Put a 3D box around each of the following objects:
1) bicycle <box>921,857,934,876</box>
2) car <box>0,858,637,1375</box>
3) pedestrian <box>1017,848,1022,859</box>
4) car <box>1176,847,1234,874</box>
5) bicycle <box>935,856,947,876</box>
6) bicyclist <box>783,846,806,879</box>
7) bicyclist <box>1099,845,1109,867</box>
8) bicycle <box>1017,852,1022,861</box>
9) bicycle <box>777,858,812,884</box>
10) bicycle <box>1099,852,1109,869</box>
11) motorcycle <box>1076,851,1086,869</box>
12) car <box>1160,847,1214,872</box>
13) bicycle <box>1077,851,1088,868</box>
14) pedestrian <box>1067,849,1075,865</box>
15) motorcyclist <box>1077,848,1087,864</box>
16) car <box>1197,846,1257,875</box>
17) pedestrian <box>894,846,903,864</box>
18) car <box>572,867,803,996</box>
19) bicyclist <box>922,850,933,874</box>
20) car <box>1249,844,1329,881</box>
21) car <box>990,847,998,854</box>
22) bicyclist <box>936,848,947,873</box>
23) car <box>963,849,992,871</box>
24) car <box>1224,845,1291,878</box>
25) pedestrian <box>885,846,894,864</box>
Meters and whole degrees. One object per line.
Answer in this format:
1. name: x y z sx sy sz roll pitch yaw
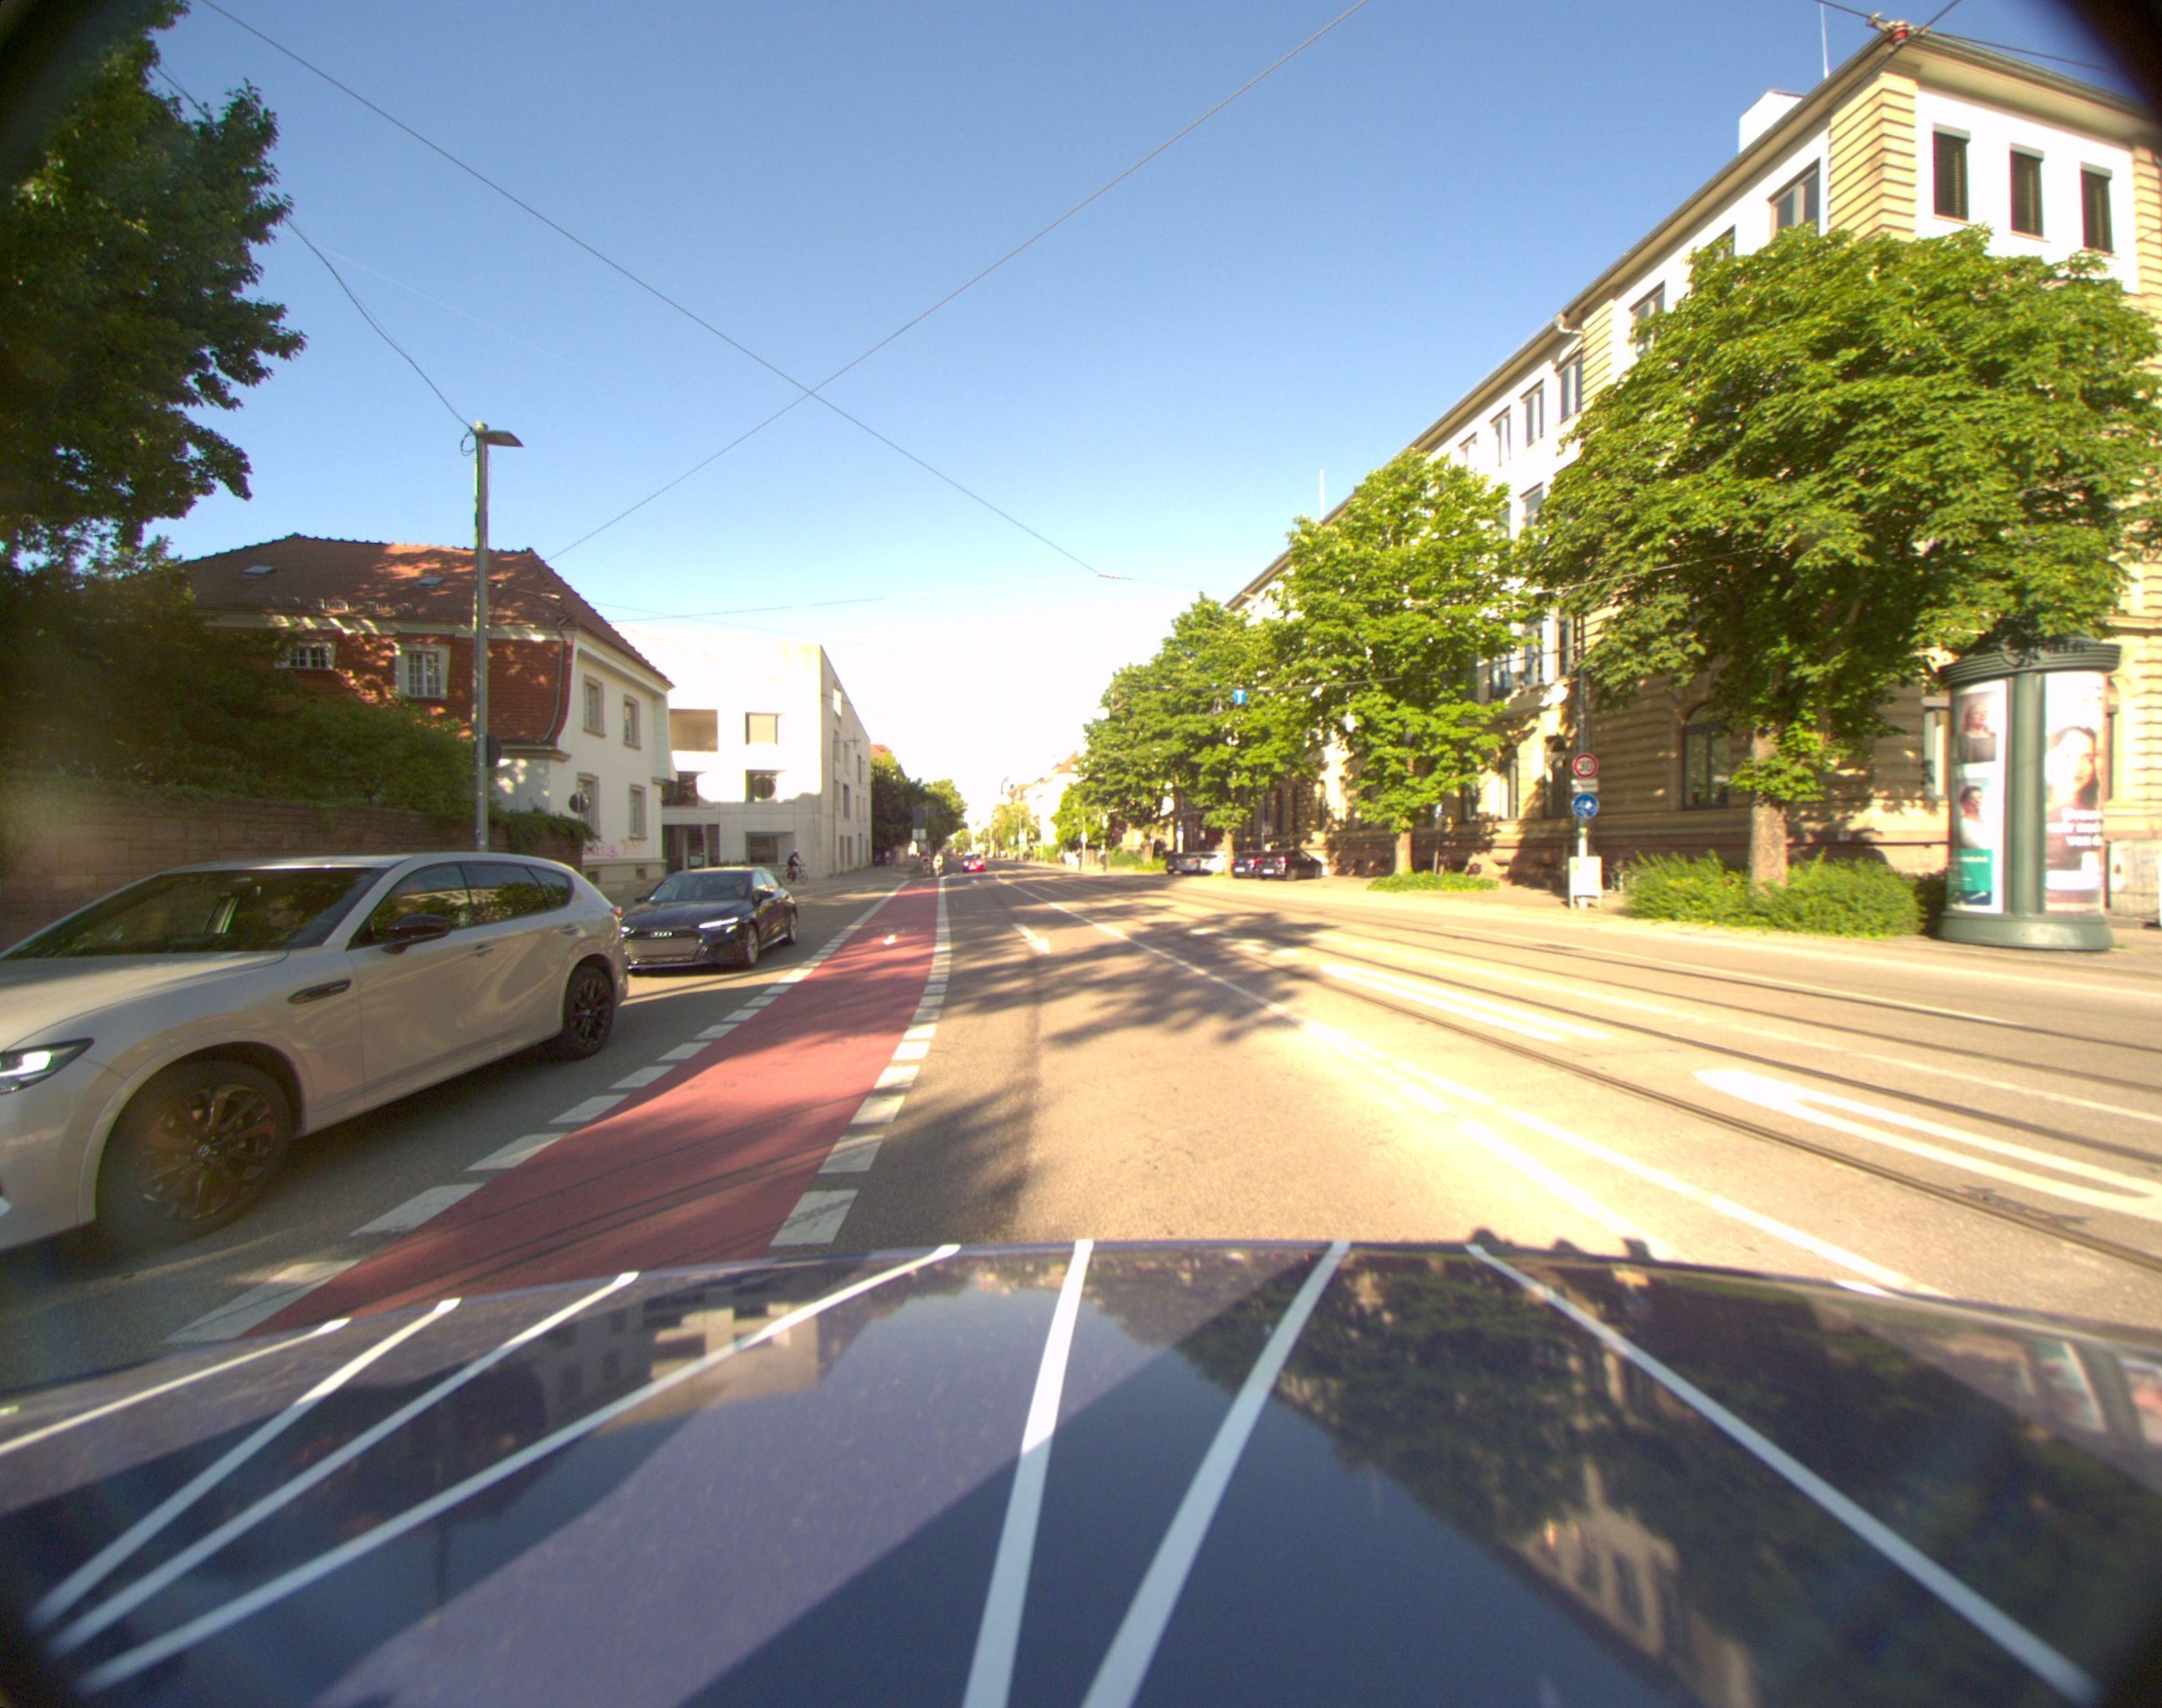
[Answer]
1. bicycle: -10.295 0.807 50.987 0.676 1.243 2.454 0 1 -8
2. car: -4.806 0.934 4.470 1.946 1.682 4.529 -2 1 -5
3. pedestrian: -9.644 -0.055 119.133 0.675 1.638 0.817 -1 1 0
4. car: 7.912 0.382 48.357 3.657 1.552 1.645 -3 1 -43
5. bicycle: -9.131 0.738 49.671 0.676 1.243 2.454 0 1 -8
6. bicyclist: -14.434 0.431 38.294 0.675 1.638 1.029 0 1 4
7. bicyclist: 1.733 0.151 57.012 0.675 1.638 1.029 0 1 1
8. bicycle: -9.632 0.389 119.140 0.676 1.243 2.456 -1 1 1
9. bicycle: -14.427 0.846 38.315 0.675 1.243 2.457 0 1 5
10. bicycle: 1.727 0.487 56.923 0.676 1.243 2.456 0 1 1
11. motorcycle: 0.017 0.458 59.463 0.680 1.285 2.265 -2 1 1
12. car: 7.236 0.353 51.768 3.657 1.552 1.645 -3 1 -43
13. bicycle: 0.079 0.431 59.339 0.676 1.243 2.455 0 1 -5
14. pedestrian: -1.017 0.289 79.514 0.676 1.638 0.817 -1 1 -9
15. motorcyclist: 0.079 0.173 59.347 0.676 1.243 0.853 0 1 -5
16. car: 8.890 0.382 46.126 3.657 1.552 1.645 -3 1 -43
17. pedestrian: -17.241 0.068 71.835 0.676 1.638 0.817 -1 1 -9
18. car: -5.621 0.994 11.478 1.789 1.425 3.997 -2 1 -8
19. bicyclist: -10.290 0.525 50.933 0.676 1.638 1.028 0 1 -8
20. car: 10.383 0.400 37.750 4.189 1.621 1.841 -3 1 -43
21. car: -23.073 -0.938 200.811 1.650 1.552 3.646 -2 1 -12
22. bicyclist: -9.122 0.433 49.595 0.676 1.638 1.028 0 1 -8
23. car: -7.974 0.410 58.693 1.649 1.552 3.650 -2 1 1
24. car: 9.419 0.383 40.411 3.657 1.552 1.645 -3 1 -43
25. pedestrian: -18.098 0.112 71.796 0.676 1.638 0.817 -1 1 -9
